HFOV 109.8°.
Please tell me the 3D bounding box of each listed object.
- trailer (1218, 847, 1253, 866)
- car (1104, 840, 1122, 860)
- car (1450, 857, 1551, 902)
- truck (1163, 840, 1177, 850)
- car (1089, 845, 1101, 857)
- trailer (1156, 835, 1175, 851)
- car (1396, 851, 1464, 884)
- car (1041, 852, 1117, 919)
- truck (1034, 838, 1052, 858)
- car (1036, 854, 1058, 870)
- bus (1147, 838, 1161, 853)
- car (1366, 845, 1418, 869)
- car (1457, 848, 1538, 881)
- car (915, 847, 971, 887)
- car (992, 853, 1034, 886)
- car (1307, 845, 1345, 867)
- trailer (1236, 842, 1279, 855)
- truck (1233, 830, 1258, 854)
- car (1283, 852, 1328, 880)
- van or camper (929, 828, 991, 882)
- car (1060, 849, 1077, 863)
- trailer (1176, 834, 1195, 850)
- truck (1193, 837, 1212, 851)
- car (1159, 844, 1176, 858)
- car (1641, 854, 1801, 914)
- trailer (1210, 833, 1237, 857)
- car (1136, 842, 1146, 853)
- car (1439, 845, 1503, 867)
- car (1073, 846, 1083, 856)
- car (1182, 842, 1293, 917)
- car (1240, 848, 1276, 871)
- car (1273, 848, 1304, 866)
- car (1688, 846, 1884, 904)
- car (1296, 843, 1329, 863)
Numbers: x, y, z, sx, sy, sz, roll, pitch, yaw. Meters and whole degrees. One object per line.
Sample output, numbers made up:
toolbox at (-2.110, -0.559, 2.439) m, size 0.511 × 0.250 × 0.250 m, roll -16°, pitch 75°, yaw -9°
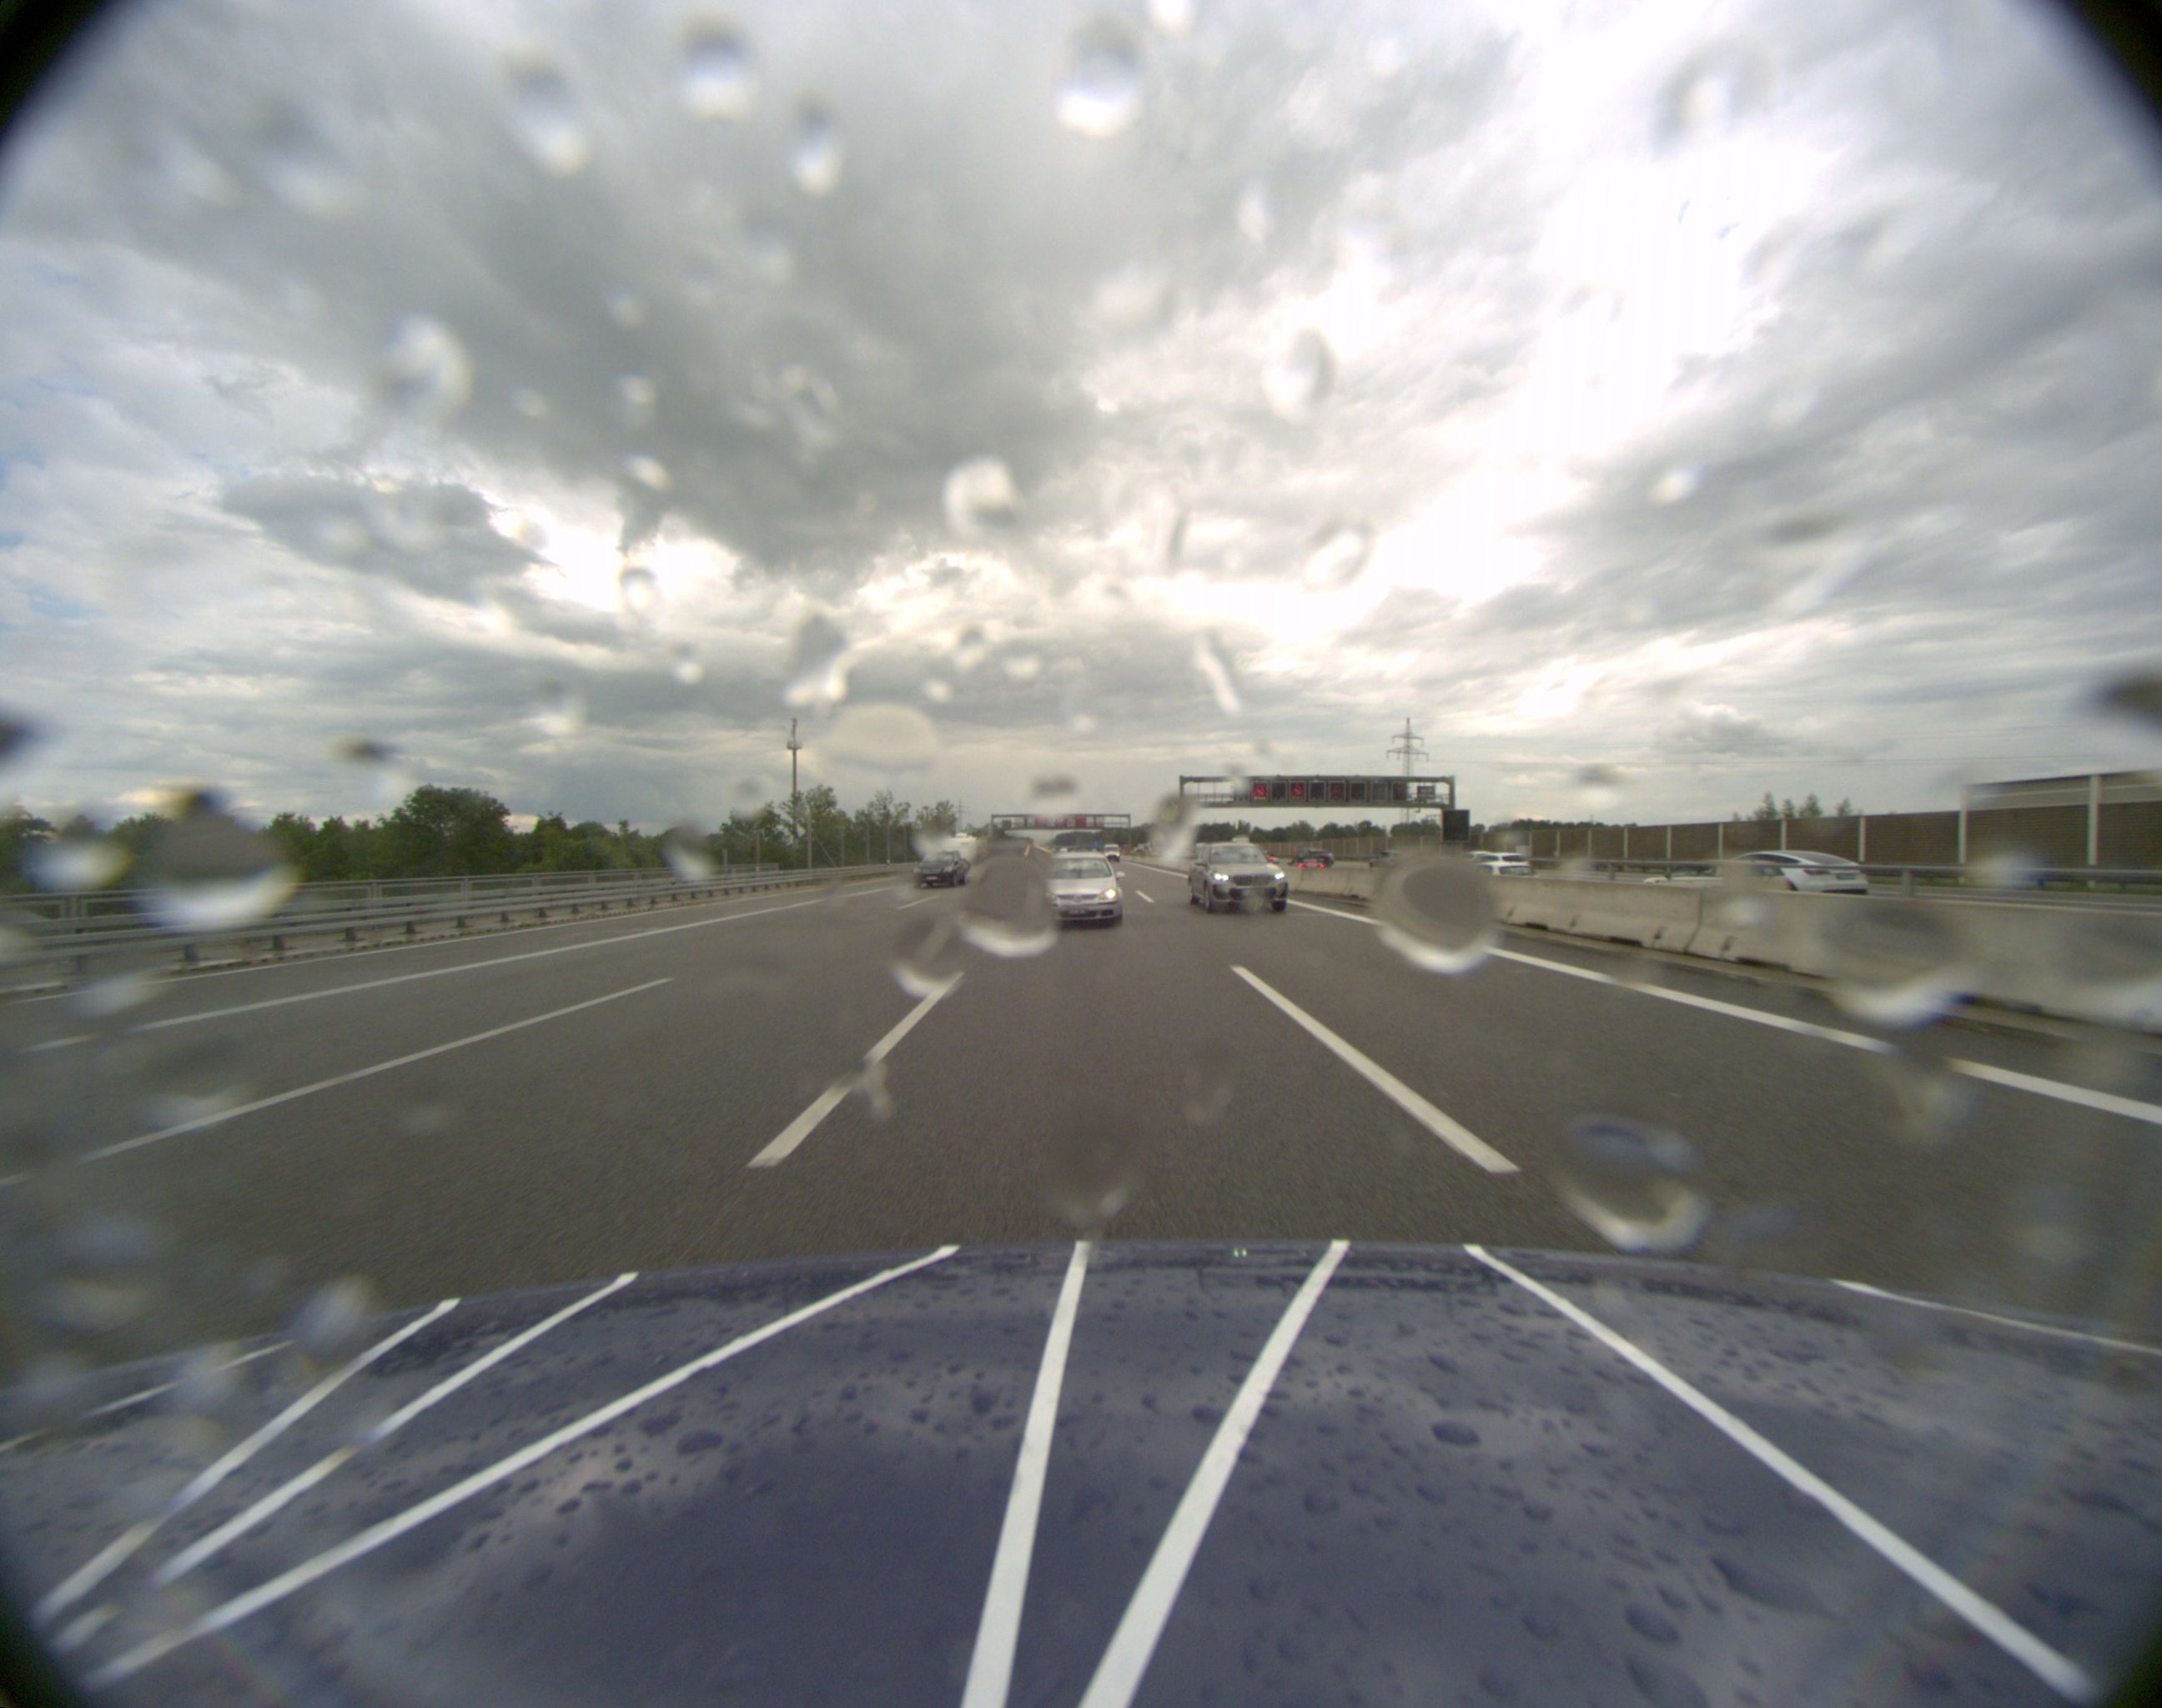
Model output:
trailer at (14.711, 0.161, 72.590) m, size 2.149 × 1.699 × 6.045 m, roll -1°, pitch 1°, yaw 1°
car at (4.159, -0.491, 99.813) m, size 1.999 × 2.524 × 4.807 m, roll -2°, pitch 0°, yaw -1°
car at (14.342, 0.818, 26.192) m, size 1.575 × 1.386 × 3.575 m, roll -1°, pitch 0°, yaw 1°
truck at (18.543, -1.941, 158.892) m, size 2.249 × 1.988 × 5.543 m, roll -1°, pitch 1°, yaw -1°
car at (2.663, -0.586, 142.105) m, size 1.999 × 2.002 × 3.999 m, roll -2°, pitch 0°, yaw -1°
trailer at (21.595, -2.727, 195.207) m, size 2.893 × 3.938 × 14.296 m, roll -2°, pitch 0°, yaw -1°
car at (18.221, 0.652, 39.890) m, size 1.751 × 1.621 × 4.166 m, roll -1°, pitch 0°, yaw 2°
car at (-0.086, 0.708, 19.279) m, size 1.683 × 1.437 × 3.999 m, roll -2°, pitch 1°, yaw -1°
truck at (-7.105, -1.107, 142.293) m, size 2.870 × 3.633 × 9.592 m, roll -2°, pitch 0°, yaw -1°
car at (-3.168, 0.733, 71.429) m, size 1.841 × 1.437 × 3.999 m, roll -2°, pitch 0°, yaw -1°
bus at (18.059, -2.071, 188.795) m, size 2.660 × 3.658 × 10.633 m, roll -1°, pitch 1°, yaw 1°
car at (21.985, 0.180, 53.832) m, size 1.826 × 1.621 × 4.525 m, roll -1°, pitch 0°, yaw 0°
car at (21.689, 0.500, 39.784) m, size 1.752 × 1.621 × 4.391 m, roll -1°, pitch 0°, yaw -1°
car at (-6.662, 0.588, 37.160) m, size 1.925 × 1.766 × 4.501 m, roll -2°, pitch 0°, yaw -1°
car at (-3.290, 0.714, 37.154) m, size 1.718 × 1.437 × 3.999 m, roll -2°, pitch 0°, yaw -1°
car at (19.448, 0.143, 60.461) m, size 1.751 × 1.621 × 4.166 m, roll -1°, pitch 0°, yaw 2°
trailer at (26.238, -0.812, 113.694) m, size 2.759 × 1.818 × 16.348 m, roll -1°, pitch 0°, yaw 1°
truck at (26.324, -1.893, 121.940) m, size 2.759 × 3.865 × 6.050 m, roll -1°, pitch 1°, yaw 1°
car at (14.235, 0.733, 48.381) m, size 1.752 × 1.621 × 3.748 m, roll -1°, pitch 0°, yaw 1°
van or camper at (-6.682, 0.040, 43.038) m, size 2.390 × 2.723 × 7.207 m, roll -2°, pitch 0°, yaw -1°
car at (-1.646, 0.213, 96.590) m, size 1.999 × 1.701 × 3.999 m, roll -2°, pitch 0°, yaw -2°
trailer at (26.115, -2.958, 190.292) m, size 3.037 × 3.910 × 12.973 m, roll -1°, pitch 1°, yaw 1°
truck at (25.065, -2.025, 156.414) m, size 2.698 × 2.798 × 7.833 m, roll -1°, pitch 1°, yaw 1°
car at (14.241, -0.517, 125.057) m, size 2.236 × 2.224 × 5.512 m, roll -1°, pitch 1°, yaw 1°
car at (18.318, 0.796, 21.979) m, size 1.625 × 1.571 × 3.619 m, roll -1°, pitch 0°, yaw 1°
trailer at (18.653, -1.164, 99.602) m, size 2.455 × 3.120 × 6.050 m, roll -1°, pitch 0°, yaw 1°
car at (14.541, -1.568, 184.583) m, size 2.141 × 2.338 × 5.710 m, roll -2°, pitch 0°, yaw 1°
car at (26.311, 0.113, 51.448) m, size 1.869 × 1.392 × 4.572 m, roll -1°, pitch 0°, yaw -1°
car at (-0.643, -0.565, 159.606) m, size 1.999 × 2.002 × 3.999 m, roll -2°, pitch 0°, yaw -1°
car at (3.781, 0.552, 19.280) m, size 1.840 × 1.615 × 4.914 m, roll -2°, pitch 0°, yaw 1°
car at (14.415, 0.400, 62.017) m, size 1.885 × 1.734 × 5.110 m, roll -1°, pitch 0°, yaw 2°
car at (18.566, 0.268, 68.209) m, size 1.686 × 1.568 × 3.874 m, roll -1°, pitch 0°, yaw -1°
car at (21.748, 0.585, 23.766) m, size 1.752 × 1.621 × 4.643 m, roll -1°, pitch 0°, yaw -1°
car at (22.031, -0.114, 72.472) m, size 1.752 × 1.837 × 4.165 m, roll -1°, pitch 0°, yaw -1°
